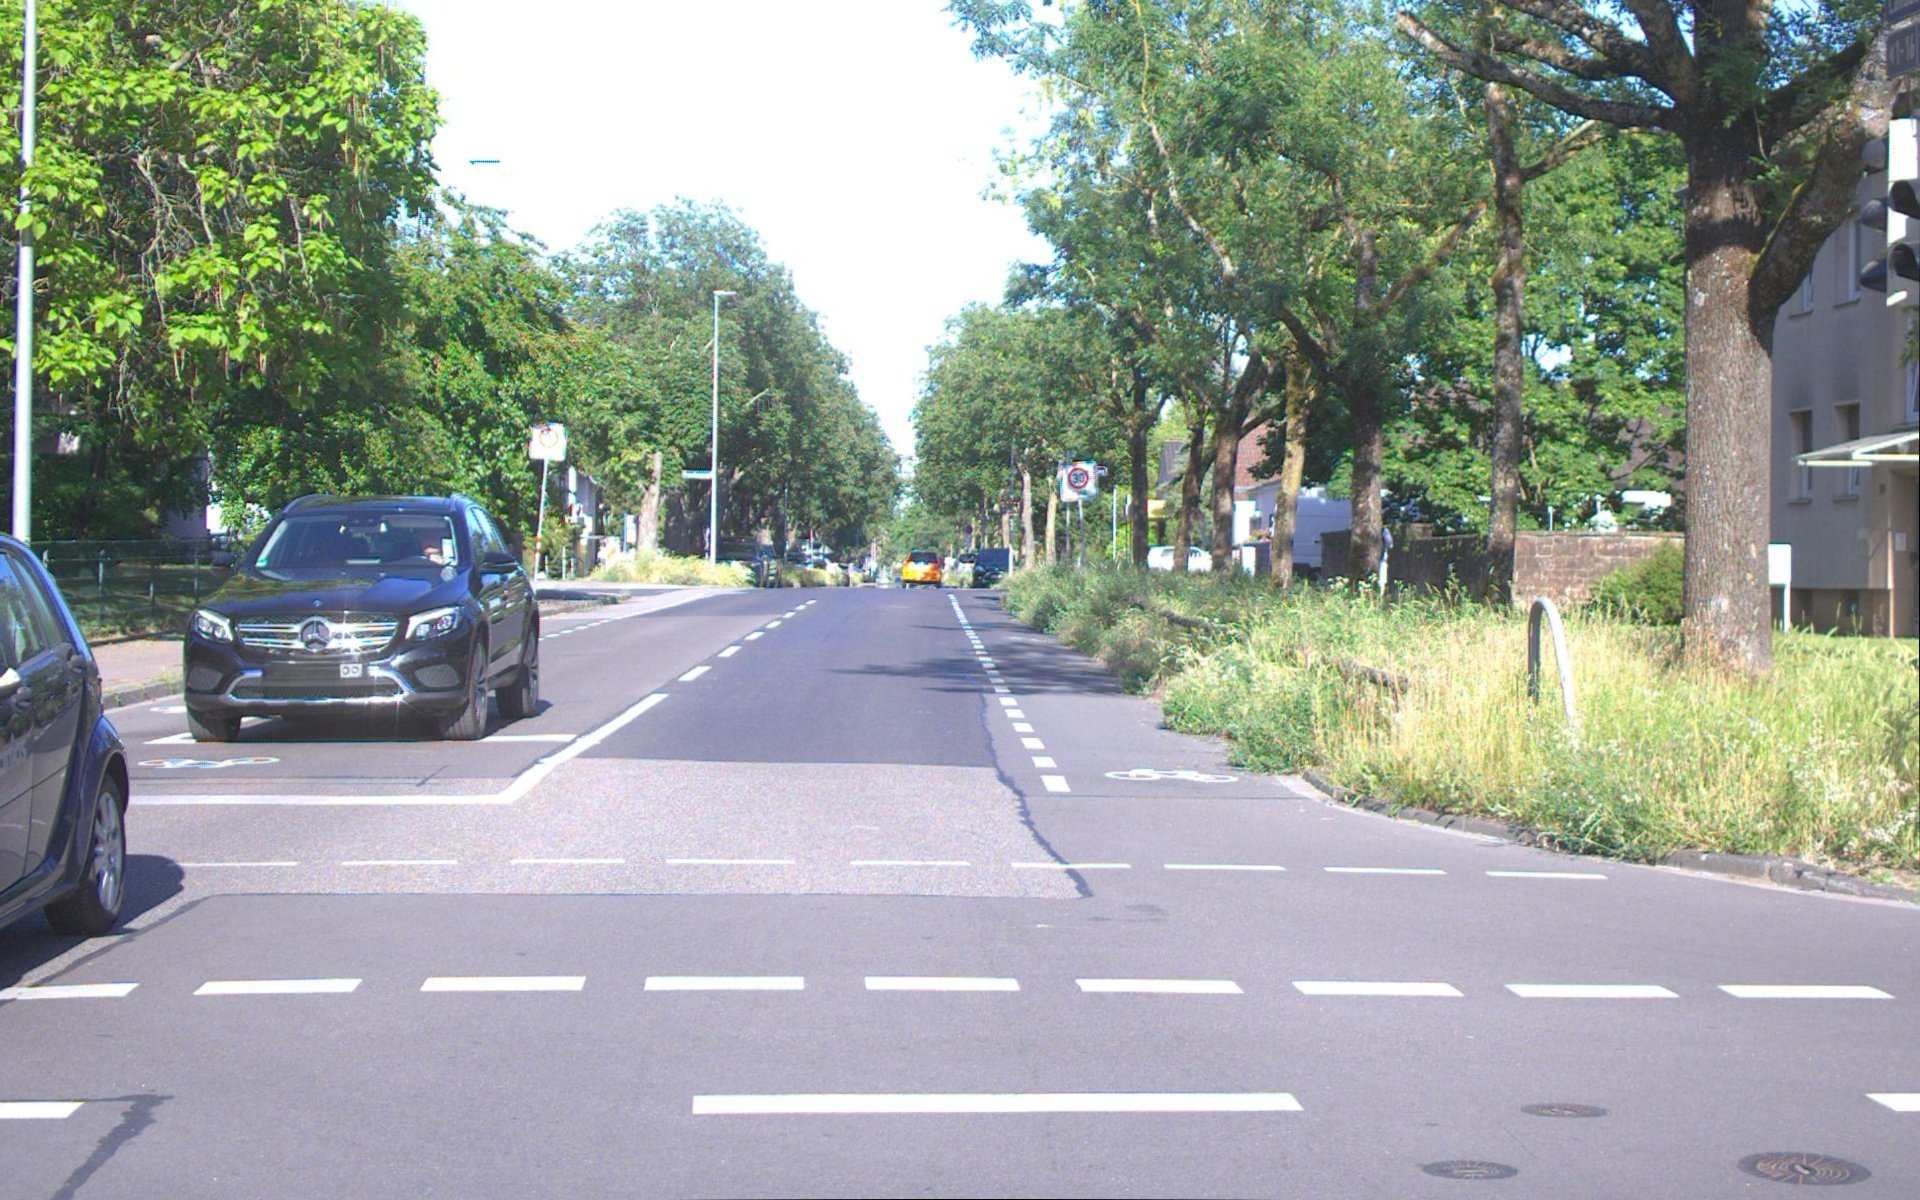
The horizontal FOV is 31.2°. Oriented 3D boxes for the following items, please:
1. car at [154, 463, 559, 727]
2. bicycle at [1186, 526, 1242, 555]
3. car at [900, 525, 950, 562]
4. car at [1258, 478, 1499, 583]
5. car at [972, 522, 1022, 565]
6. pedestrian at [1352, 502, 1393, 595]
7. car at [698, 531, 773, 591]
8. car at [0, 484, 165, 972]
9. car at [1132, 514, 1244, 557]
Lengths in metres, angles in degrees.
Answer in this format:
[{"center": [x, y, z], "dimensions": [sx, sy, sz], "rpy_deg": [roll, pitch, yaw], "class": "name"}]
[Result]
[{"center": [-4.011, -0.100, 23.566], "dimensions": [1.815, 1.612, 4.392], "rpy_deg": [-1, 2, 2], "class": "car"}, {"center": [9.265, -2.176, 125.412], "dimensions": [1.957, 0.995, 0.576], "rpy_deg": [-1, 2, -2], "class": "bicycle"}, {"center": [-1.525, -2.415, 147.363], "dimensions": [1.887, 1.474, 3.888], "rpy_deg": [3, 1, -4], "class": "car"}, {"center": [10.393, -1.731, 85.644], "dimensions": [5.594, 2.530, 2.266], "rpy_deg": [0, 1, -4], "class": "car"}, {"center": [1.456, -2.248, 136.846], "dimensions": [1.853, 1.620, 4.470], "rpy_deg": [-1, 0, -1], "class": "car"}, {"center": [7.716, -0.970, 64.296], "dimensions": [0.637, 1.700, 0.612], "rpy_deg": [-2, 2, -2], "class": "pedestrian"}, {"center": [-7.024, -1.201, 108.043], "dimensions": [1.953, 1.721, 4.875], "rpy_deg": [2, 0, 0], "class": "car"}, {"center": [-3.769, 0.381, 10.629], "dimensions": [1.806, 1.450, 3.851], "rpy_deg": [0, 1, -1], "class": "car"}, {"center": [8.508, -2.423, 128.576], "dimensions": [3.986, 1.483, 1.902], "rpy_deg": [-1, 2, -2], "class": "car"}]
